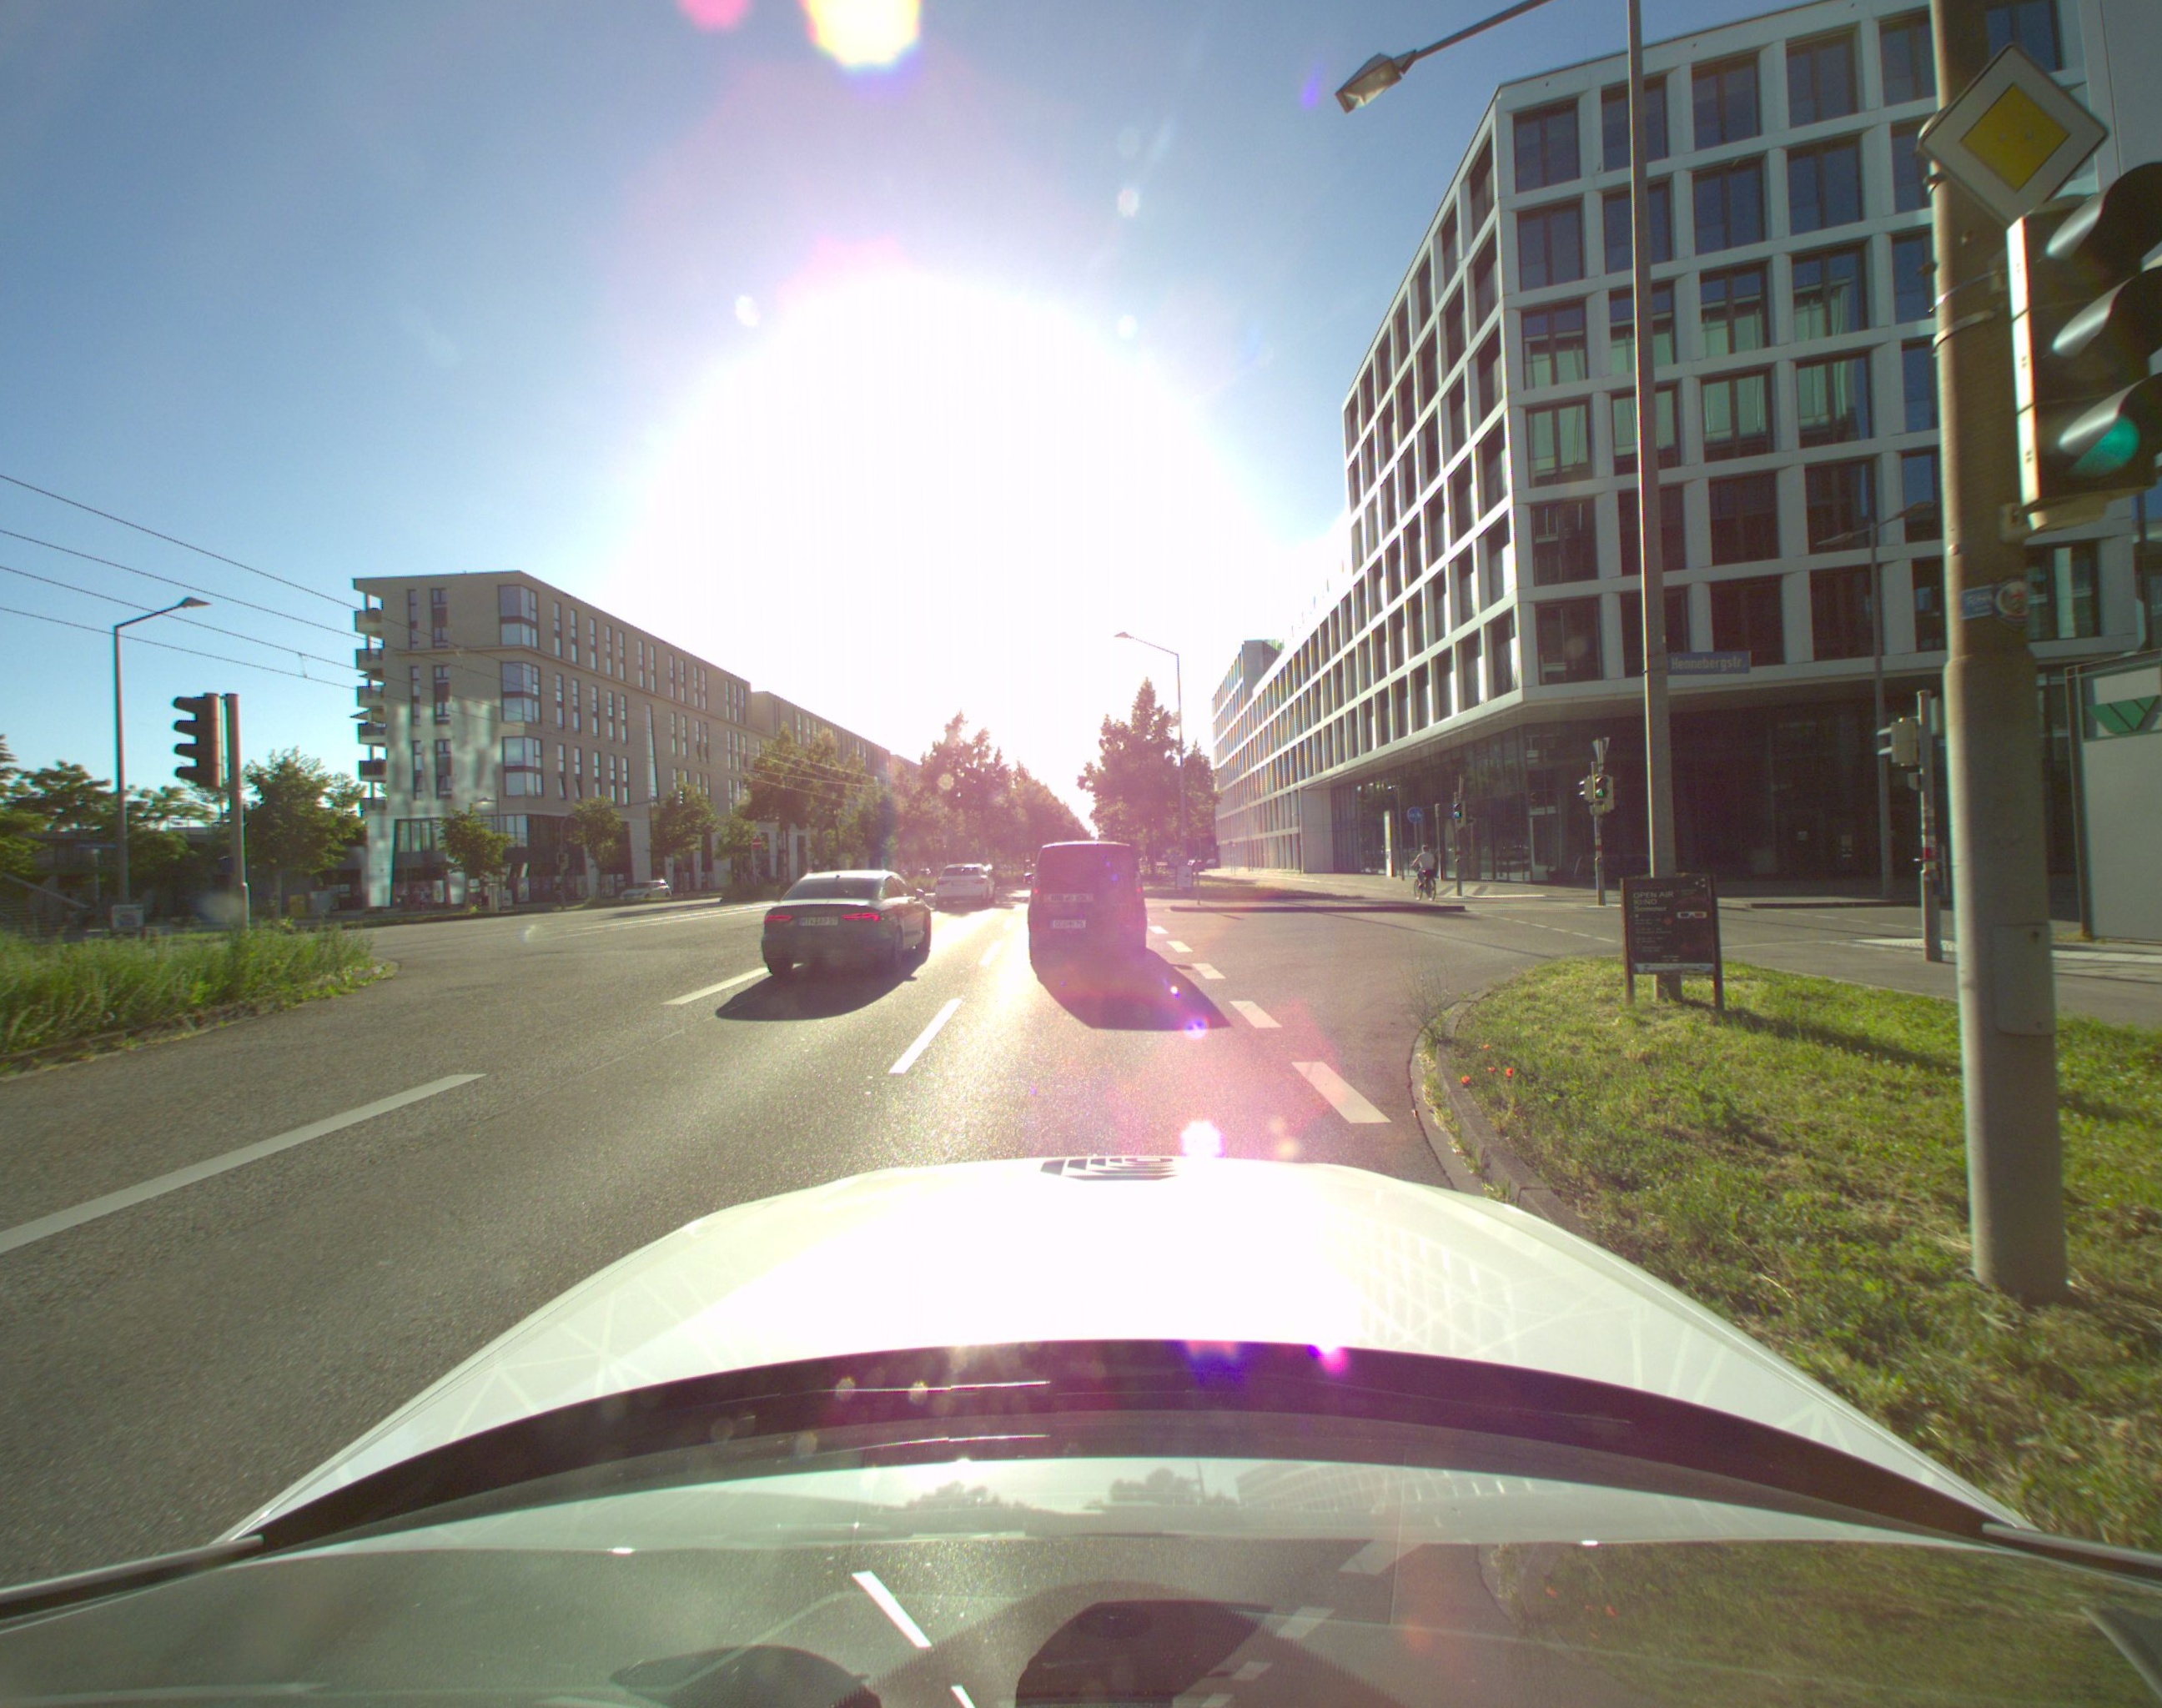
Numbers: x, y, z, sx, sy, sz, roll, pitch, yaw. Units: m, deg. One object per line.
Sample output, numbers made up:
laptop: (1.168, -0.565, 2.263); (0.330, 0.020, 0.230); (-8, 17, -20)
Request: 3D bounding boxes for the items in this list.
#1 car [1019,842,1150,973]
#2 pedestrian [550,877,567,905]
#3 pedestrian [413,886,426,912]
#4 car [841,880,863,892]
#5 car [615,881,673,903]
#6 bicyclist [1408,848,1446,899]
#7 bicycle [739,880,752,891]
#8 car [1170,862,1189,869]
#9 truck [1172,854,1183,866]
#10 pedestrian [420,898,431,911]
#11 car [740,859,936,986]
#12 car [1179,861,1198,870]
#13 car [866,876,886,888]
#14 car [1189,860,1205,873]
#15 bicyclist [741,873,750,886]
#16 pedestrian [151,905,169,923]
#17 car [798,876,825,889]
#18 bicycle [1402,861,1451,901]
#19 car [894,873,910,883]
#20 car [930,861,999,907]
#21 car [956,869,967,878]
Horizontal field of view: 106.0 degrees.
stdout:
car: (0.095, 0.778, 13.587); (1.801, 1.794, 4.113); (-2, -1, 1)
pedestrian: (-34.325, 2.428, 53.525); (0.577, 1.812, 0.800); (-1, -1, -1)
pedestrian: (-46.249, 3.127, 56.953); (0.602, 1.771, 0.665); (0, -2, -34)
car: (-29.330, 4.090, 104.372); (1.574, 1.342, 3.714); (-2, -1, 2)
car: (-31.354, 2.722, 58.533); (1.574, 1.342, 4.474); (-2, -1, 2)
bicyclist: (10.800, 0.612, 25.437); (0.768, 1.531, 0.850); (-3, -1, 2)
bicycle: (-35.292, 3.354, 85.737); (0.526, 1.111, 1.640); (-1, -1, 5)
car: (19.010, 2.220, 157.158); (3.379, 1.358, 1.474); (-2, -1, 9)
truck: (20.894, 1.268, 177.239); (1.824, 2.501, 5.935); (-2, -1, 2)
pedestrian: (-46.463, 3.579, 57.735); (0.602, 0.920, 0.429); (0, -2, -34)
car: (-3.416, 0.877, 12.300); (1.803, 1.527, 4.109); (-2, -1, -2)
car: (19.235, 2.028, 145.447); (3.379, 1.358, 1.474); (-2, -1, 9)
car: (-29.368, 4.027, 116.935); (1.769, 1.528, 3.808); (-2, -1, 2)
car: (15.203, 1.644, 106.465); (1.750, 1.611, 3.907); (-2, -1, 4)
bicyclist: (-35.295, 2.692, 85.761); (0.575, 1.293, 0.706); (-1, -1, 4)
pedestrian: (-58.716, 3.803, 51.919); (0.437, 1.125, 0.601); (-1, -1, 5)
car: (-30.257, 3.147, 91.523); (1.574, 1.342, 3.714); (-2, -1, 2)
bicycle: (10.806, 0.834, 25.549); (0.738, 1.174, 1.962); (-2, -1, 3)
car: (-28.441, 3.828, 129.756); (1.574, 1.342, 3.714); (-2, -1, 2)
car: (-3.948, 0.981, 28.155); (1.803, 1.434, 4.111); (-2, -1, -1)
car: (-26.349, 4.267, 178.926); (1.723, 2.013, 4.000); (-2, 0, 0)
